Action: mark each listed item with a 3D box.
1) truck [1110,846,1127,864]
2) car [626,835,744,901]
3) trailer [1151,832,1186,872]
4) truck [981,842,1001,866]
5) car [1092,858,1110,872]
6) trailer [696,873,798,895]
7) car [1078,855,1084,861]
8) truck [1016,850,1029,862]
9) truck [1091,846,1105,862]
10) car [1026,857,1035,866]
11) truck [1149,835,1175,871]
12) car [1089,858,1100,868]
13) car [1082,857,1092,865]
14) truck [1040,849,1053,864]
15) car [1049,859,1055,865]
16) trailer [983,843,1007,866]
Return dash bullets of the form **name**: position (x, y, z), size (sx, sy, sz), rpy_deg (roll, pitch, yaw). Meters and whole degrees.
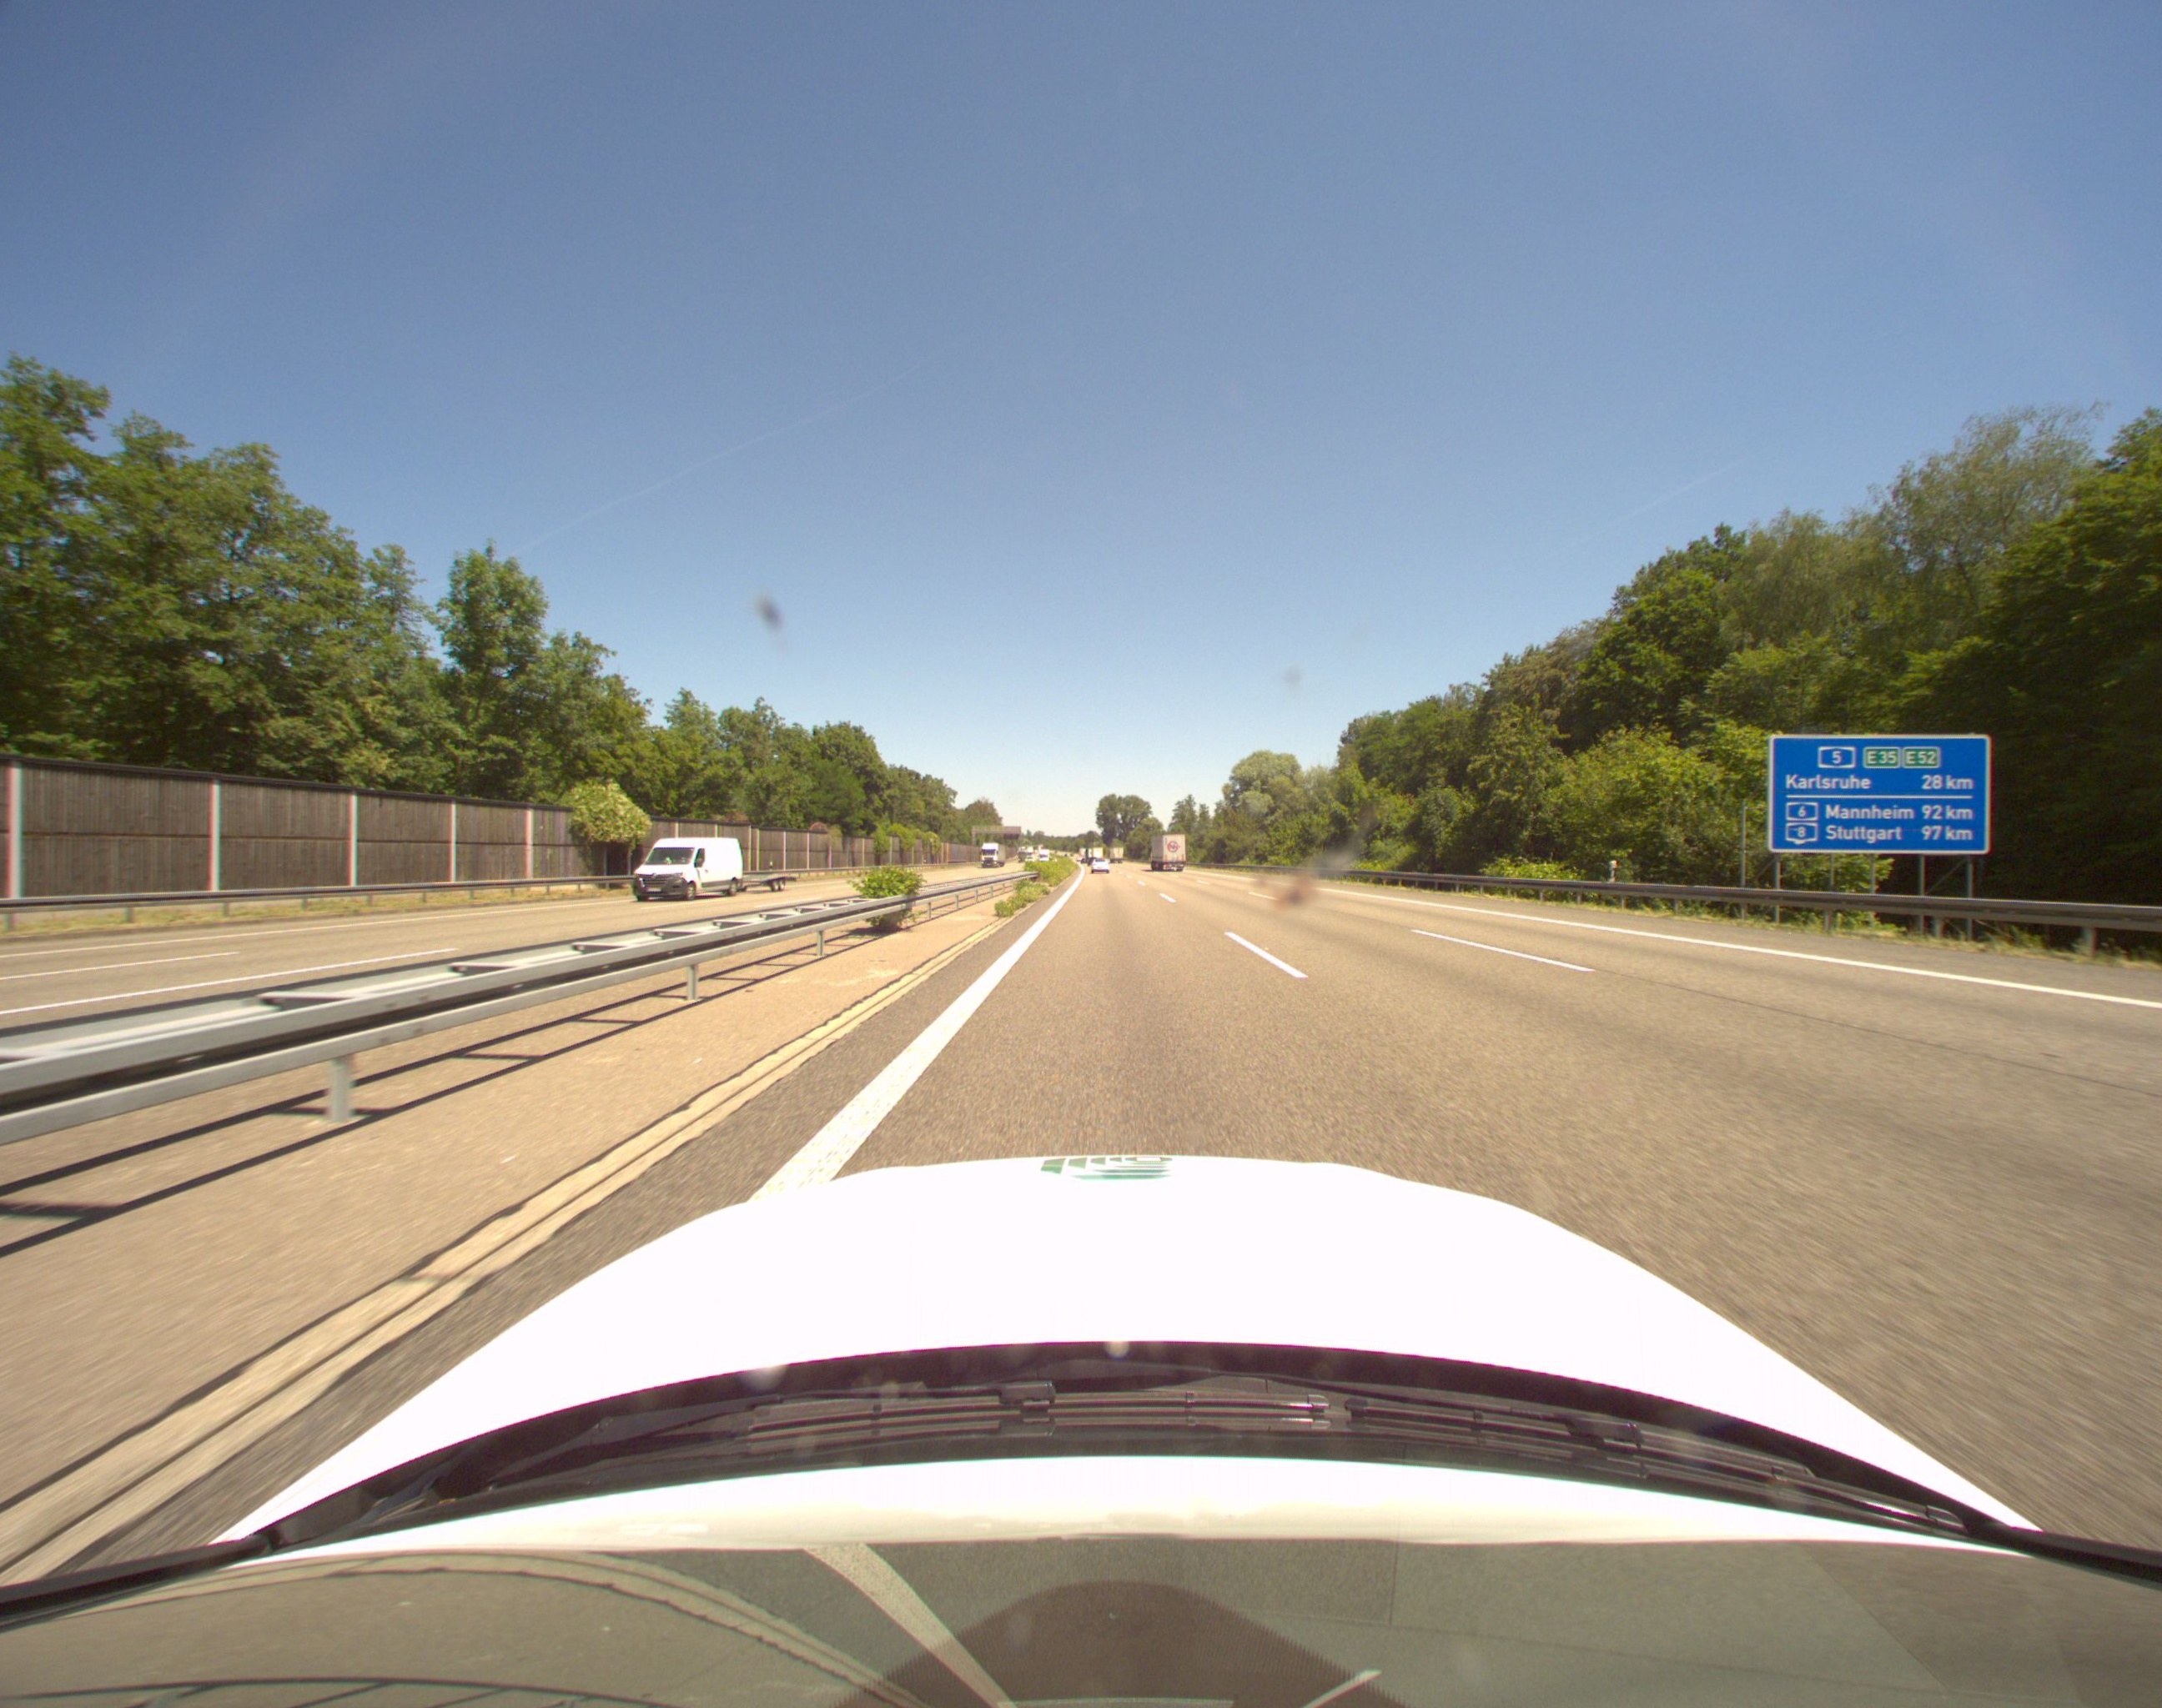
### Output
- **truck**: position (9.378, 0.329, 206.761), size (3.483, 4.311, 10.979), rpy_deg (0, 0, -2)
- **car**: position (-15.688, 0.533, 32.642), size (2.017, 2.431, 5.413), rpy_deg (0, 0, 0)
- **trailer**: position (9.941, -0.222, 93.822), size (2.615, 4.261, 14.059), rpy_deg (0, 0, 0)
- **truck**: position (-14.984, 0.061, 135.663), size (2.678, 3.895, 5.572), rpy_deg (0, 0, 0)
- **car**: position (2.027, 1.108, 82.598), size (1.709, 1.369, 3.377), rpy_deg (0, 0, 2)
- **trailer**: position (-15.615, 1.376, 38.535), size (2.154, 0.807, 6.281), rpy_deg (0, 0, 0)
- **car**: position (-0.033, 1.306, 250.695), size (1.720, 1.783, 3.995), rpy_deg (0, 0, -3)
- **truck**: position (-16.654, 0.586, 233.006), size (2.861, 3.605, 9.949), rpy_deg (0, 0, 0)
- **truck**: position (4.668, 0.092, 225.484), size (3.350, 4.311, 10.822), rpy_deg (0, 0, -1)
- **car**: position (-11.254, 1.685, 181.925), size (1.861, 1.820, 4.816), rpy_deg (0, 0, 0)
- **truck**: position (9.971, -0.120, 100.437), size (2.597, 4.287, 5.434), rpy_deg (0, 0, 0)
- **car**: position (2.496, 1.604, 152.540), size (1.988, 1.772, 3.997), rpy_deg (0, 0, -2)
- **car**: position (1.431, 1.697, 197.447), size (1.989, 2.013, 3.995), rpy_deg (0, 0, -3)
- **truck**: position (-7.279, 0.540, 172.387), size (2.186, 3.114, 8.533), rpy_deg (0, 0, 0)
- **car**: position (-7.664, 2.141, 216.699), size (1.621, 1.390, 3.912), rpy_deg (0, 0, -1)
- **trailer**: position (-14.934, 0.123, 142.477), size (2.720, 3.910, 13.760), rpy_deg (0, 0, 0)
